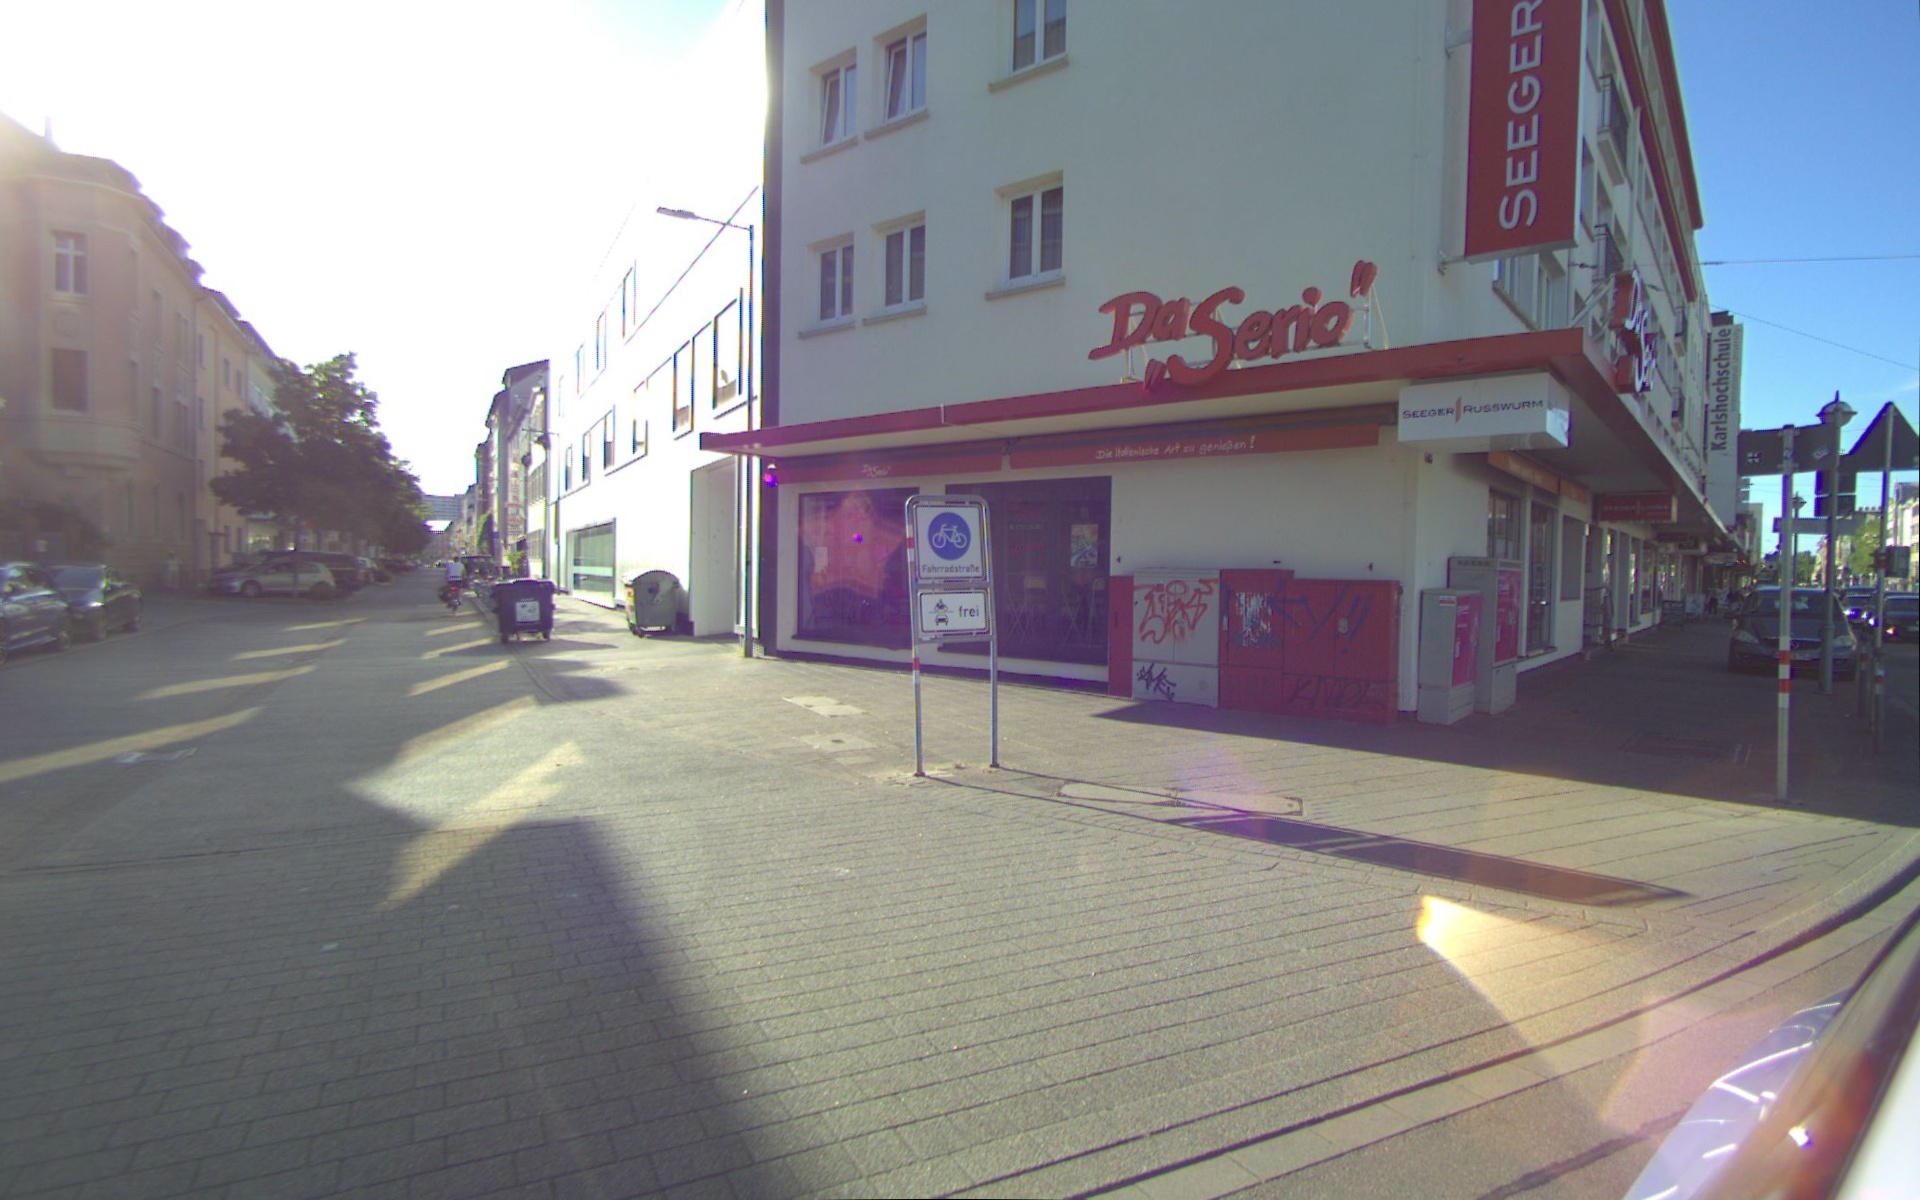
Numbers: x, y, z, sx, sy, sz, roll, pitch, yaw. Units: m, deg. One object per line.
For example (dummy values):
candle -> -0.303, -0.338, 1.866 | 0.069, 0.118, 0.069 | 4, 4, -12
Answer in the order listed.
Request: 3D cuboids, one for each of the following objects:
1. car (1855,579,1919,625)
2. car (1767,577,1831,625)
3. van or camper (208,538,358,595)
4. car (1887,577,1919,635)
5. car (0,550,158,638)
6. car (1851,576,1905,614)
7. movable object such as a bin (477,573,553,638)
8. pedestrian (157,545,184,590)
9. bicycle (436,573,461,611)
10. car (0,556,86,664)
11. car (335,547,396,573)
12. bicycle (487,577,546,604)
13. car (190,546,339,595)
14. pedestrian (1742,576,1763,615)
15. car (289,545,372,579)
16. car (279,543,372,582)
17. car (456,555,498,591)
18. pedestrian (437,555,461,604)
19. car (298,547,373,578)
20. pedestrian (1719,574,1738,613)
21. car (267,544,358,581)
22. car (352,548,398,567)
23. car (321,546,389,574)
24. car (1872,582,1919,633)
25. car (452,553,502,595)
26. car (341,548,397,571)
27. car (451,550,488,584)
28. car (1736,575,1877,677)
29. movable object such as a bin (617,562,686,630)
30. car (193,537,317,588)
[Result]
car -> 37.782, 0.032, 41.256 | 1.731, 1.683, 3.727 | 4, 4, 40
car -> 32.908, -0.019, 39.723 | 1.777, 1.683, 4.103 | 4, 4, 40
van or camper -> -27.597, -1.324, 41.434 | 1.865, 1.973, 4.718 | 4, 0, 28
car -> 30.178, 0.175, 31.431 | 1.777, 1.683, 3.904 | 4, 4, 40
car -> -17.450, -0.172, 19.747 | 1.843, 1.450, 4.835 | 4, 0, -27
car -> 44.481, -0.277, 49.098 | 1.731, 1.683, 3.904 | 4, 4, 40
movable object such as a bin -> -9.609, 0.085, 21.817 | 1.389, 1.305, 1.653 | 0, 2, -28
pedestrian -> -29.530, -1.221, 37.870 | 0.740, 1.635, 0.802 | -1, 2, -36
bicycle -> -15.360, -0.251, 30.391 | 0.547, 1.100, 1.548 | 4, 0, -25
car -> -14.885, 0.080, 14.954 | 1.843, 1.450, 4.835 | 4, 0, -27
car -> -48.043, -3.238, 81.861 | 4.025, 1.746, 1.885 | 4, 0, -28
bicycle -> -14.948, -0.342, 34.118 | 1.770, 0.842, 0.441 | -2, 2, -26
car -> -26.313, -1.076, 38.453 | 1.865, 1.568, 4.269 | 4, 0, 28
pedestrian -> 38.388, -0.213, 49.035 | 0.735, 1.840, 0.738 | 1, 2, 38
car -> -37.974, -2.294, 61.163 | 4.025, 1.746, 1.885 | 4, 0, -28
car -> -34.185, -2.015, 54.615 | 4.025, 1.746, 1.885 | 4, 0, -28
car -> -25.474, -1.437, 53.450 | 1.843, 1.746, 4.321 | 4, 0, -25
pedestrian -> -15.380, -0.622, 30.486 | 0.553, 1.438, 0.675 | 4, 0, -26
car -> -41.213, -2.474, 66.889 | 4.025, 1.746, 1.885 | 4, 0, -28
pedestrian -> 37.657, -0.325, 49.592 | 0.702, 1.840, 0.797 | 1, 2, 38
car -> -36.264, -2.080, 56.805 | 4.025, 1.746, 1.885 | 4, 0, -28
car -> -62.145, -4.518, 107.530 | 4.025, 1.746, 1.885 | 4, 0, -28
car -> -43.956, -2.887, 73.621 | 4.025, 1.746, 1.885 | 4, 0, -28
car -> 34.504, 0.234, 36.843 | 1.731, 1.683, 3.904 | 4, 4, 40
car -> -22.654, -1.219, 47.367 | 1.844, 1.746, 4.116 | 4, 0, -28
car -> -51.455, -3.528, 88.174 | 4.025, 1.746, 1.885 | 4, 0, -28
car -> -29.940, -2.015, 61.871 | 1.843, 1.922, 4.321 | 4, 0, -25
car -> 15.630, 0.378, 18.740 | 1.775, 1.587, 3.904 | 4, 4, 40
movable object such as a bin -> -6.865, -0.104, 22.483 | 1.256, 1.458, 1.222 | 0, 2, -28
car -> -29.983, -1.578, 43.200 | 4.095, 1.825, 1.884 | 4, 0, -31
